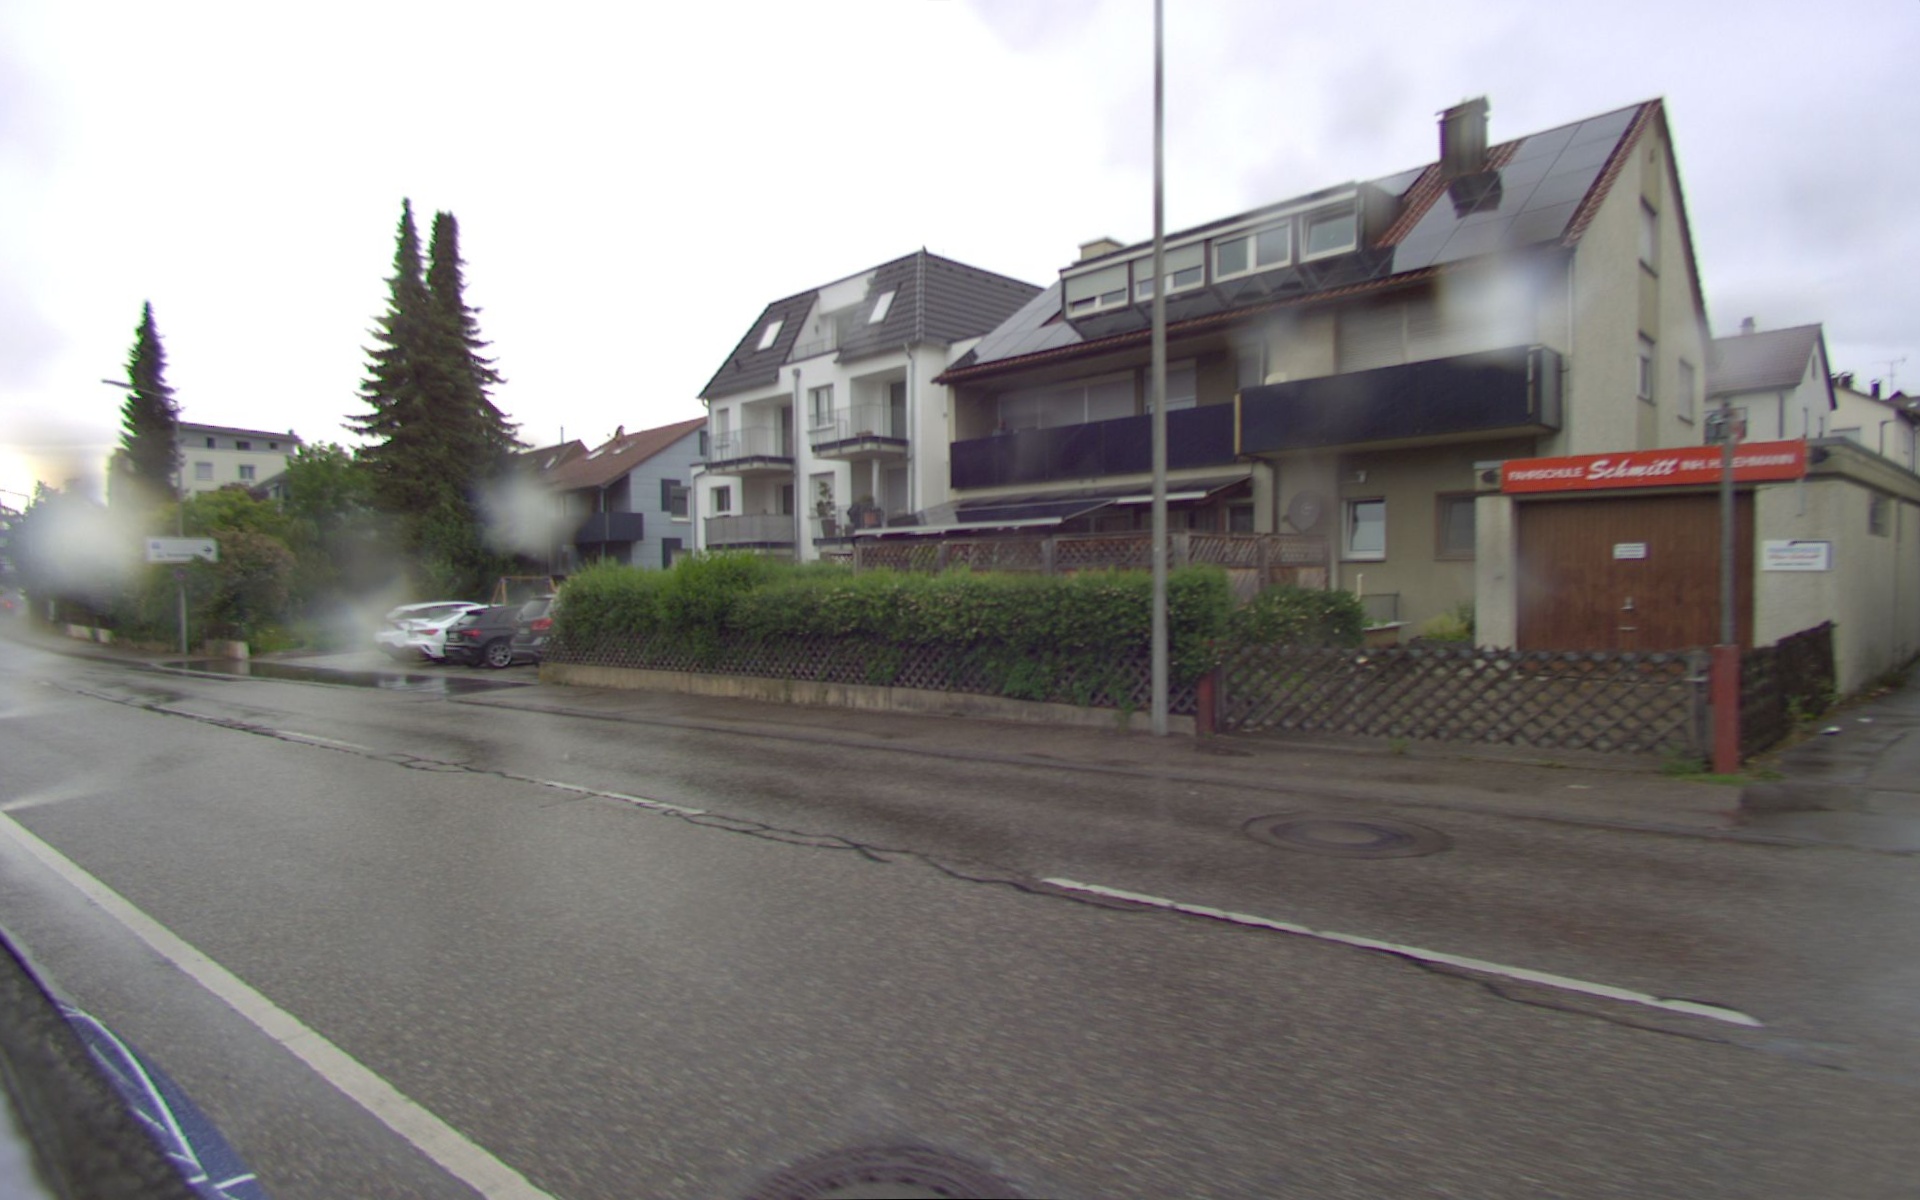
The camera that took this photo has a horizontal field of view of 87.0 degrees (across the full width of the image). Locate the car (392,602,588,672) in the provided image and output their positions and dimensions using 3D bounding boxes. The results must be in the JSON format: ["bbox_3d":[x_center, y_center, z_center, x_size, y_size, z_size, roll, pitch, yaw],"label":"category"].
[{"bbox_3d":[-11.917,0.874,25.799,4.099,1.453,1.891,-4,2,-44],"label":"car"}]

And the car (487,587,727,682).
[{"bbox_3d":[-7.519,0.658,21.834,4.406,1.673,2.002,-4,2,-44],"label":"car"}]

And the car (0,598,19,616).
[{"bbox_3d":[-87.427,0.663,92.442,1.969,1.627,4.006,-1,0,-40],"label":"car"}]

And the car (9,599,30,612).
[{"bbox_3d":[-137.241,0.768,147.719,1.823,1.777,4.130,-1,0,-37],"label":"car"}]

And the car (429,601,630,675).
[{"bbox_3d":[-10.179,0.840,24.128,1.813,1.453,3.981,-1,2,44],"label":"car"}]

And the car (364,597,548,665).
[{"bbox_3d":[-13.786,0.801,27.809,2.001,1.557,4.060,-1,2,44],"label":"car"}]
